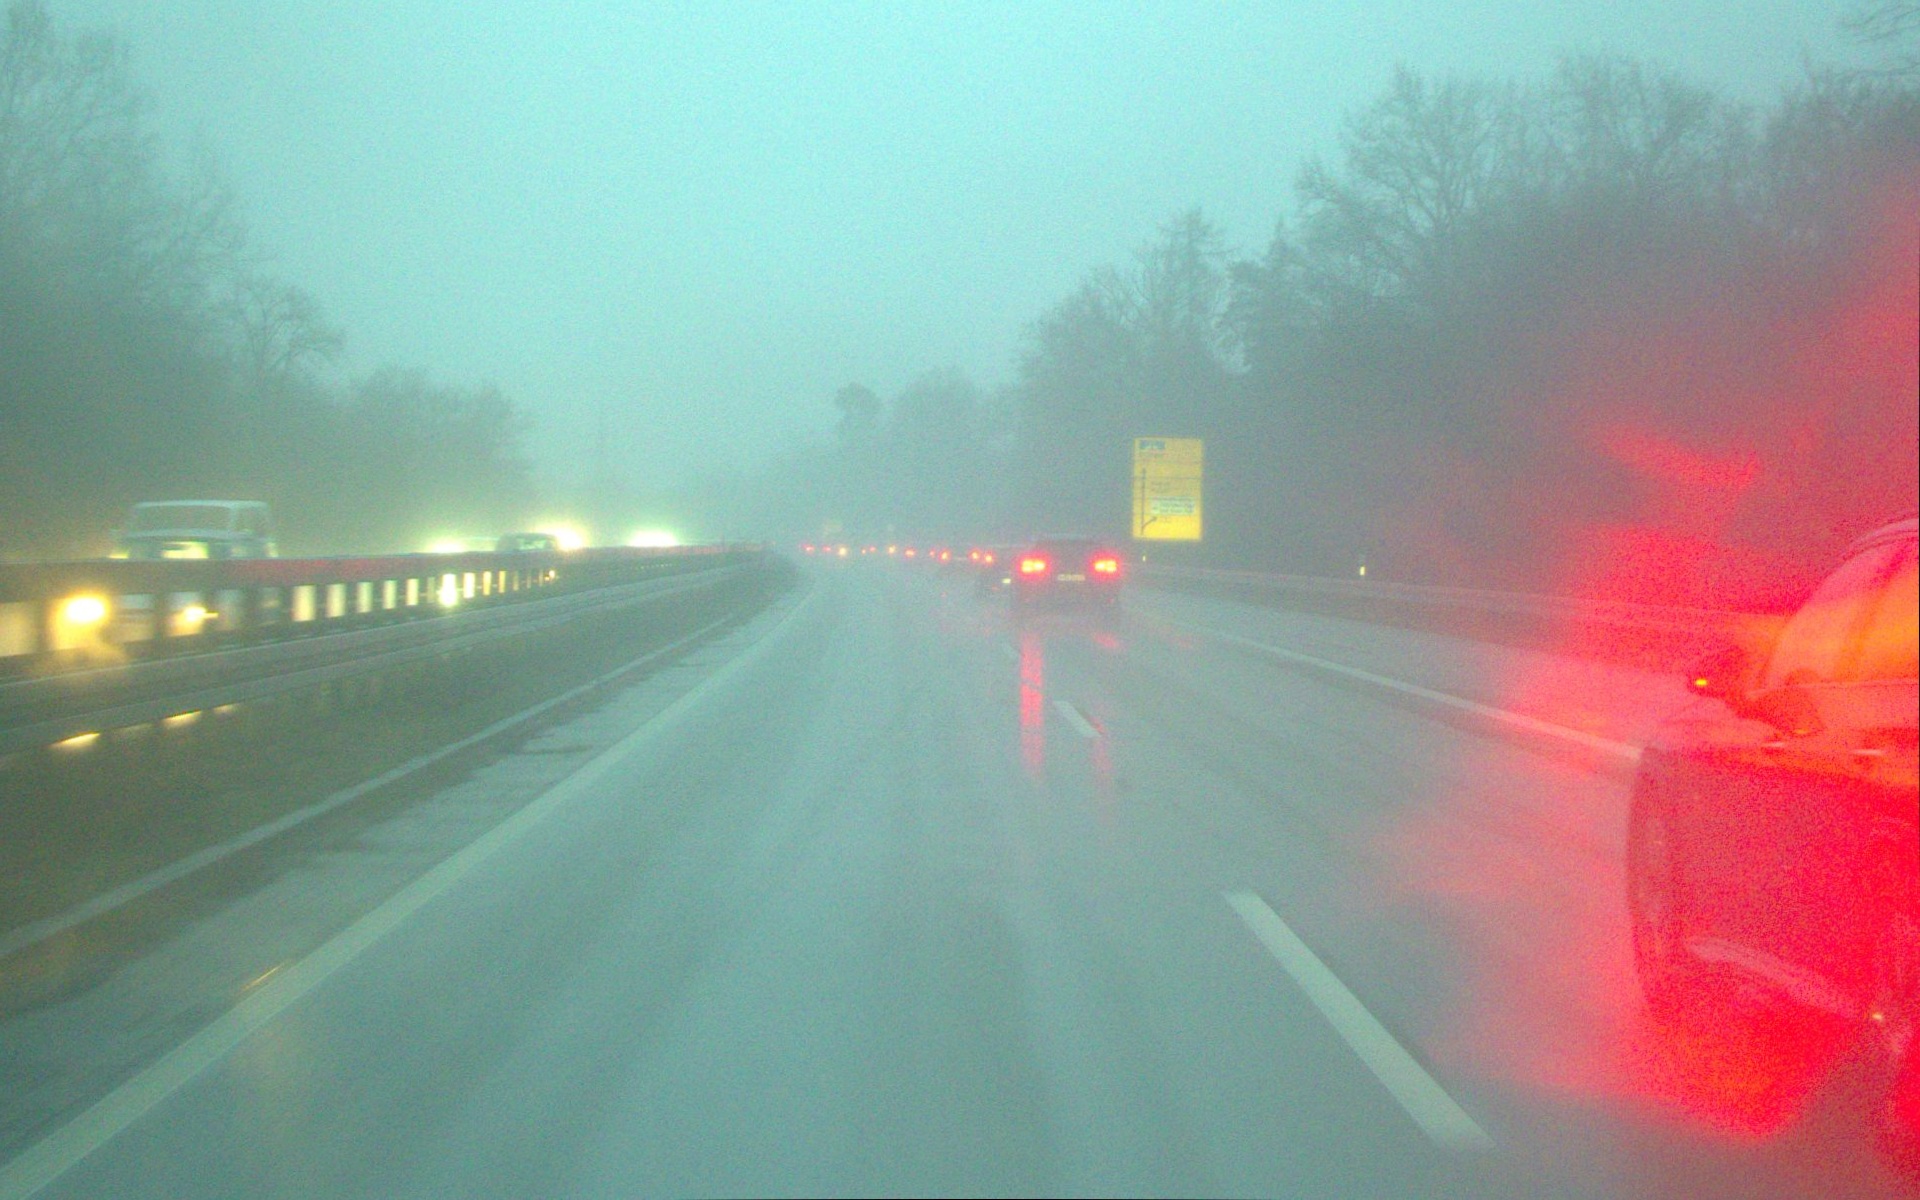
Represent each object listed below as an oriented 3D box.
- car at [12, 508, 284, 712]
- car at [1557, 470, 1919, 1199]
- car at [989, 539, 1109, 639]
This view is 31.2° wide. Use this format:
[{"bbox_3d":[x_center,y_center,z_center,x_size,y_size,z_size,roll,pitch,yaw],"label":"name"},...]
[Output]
[{"bbox_3d":[-8.321,0.076,35.635,1.742,1.949,4.818,1,1,-1],"label":"car"},{"bbox_3d":[3.091,0.583,9.946,1.924,1.785,3.941,1,1,-1],"label":"car"},{"bbox_3d":[1.561,-0.210,61.717,1.992,1.709,3.830,1,1,-1],"label":"car"}]
